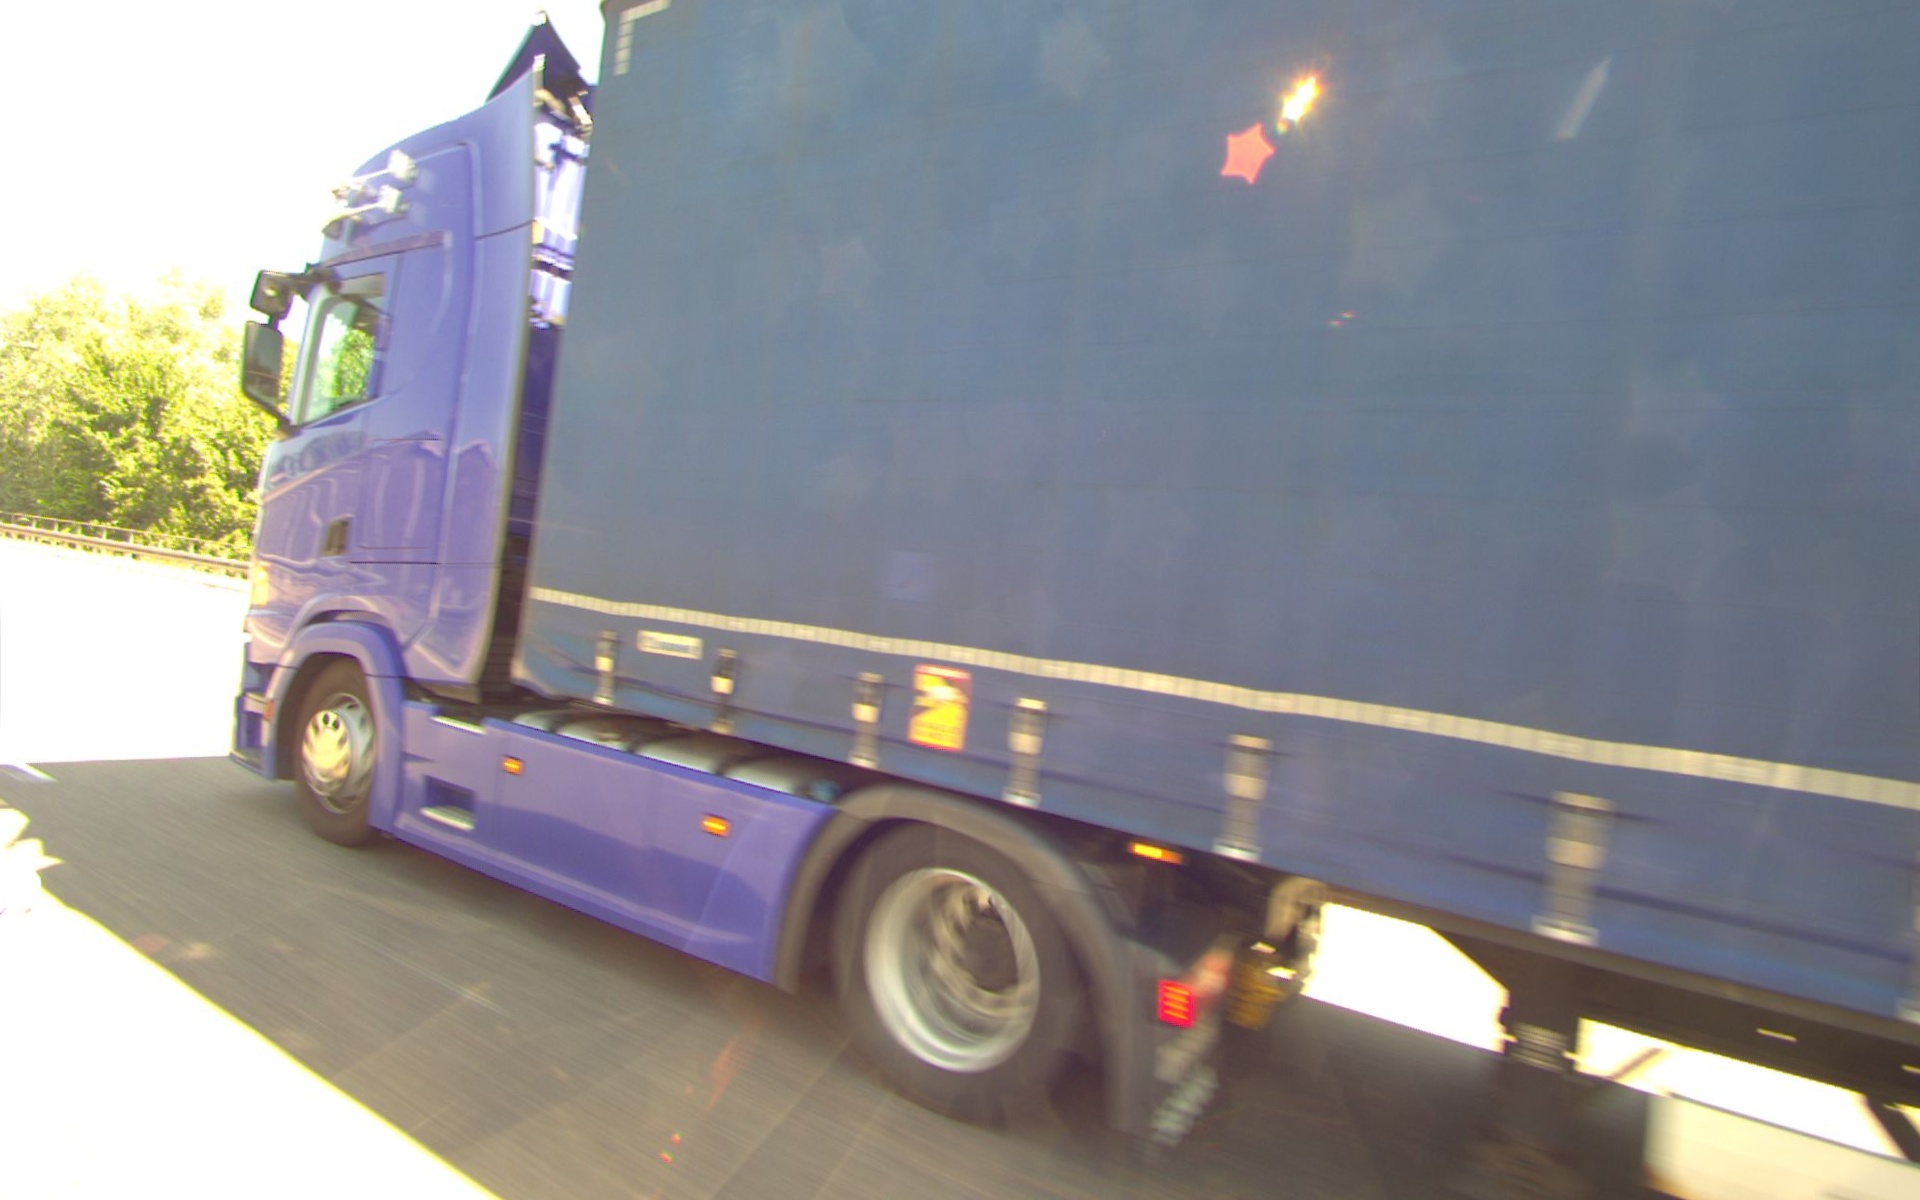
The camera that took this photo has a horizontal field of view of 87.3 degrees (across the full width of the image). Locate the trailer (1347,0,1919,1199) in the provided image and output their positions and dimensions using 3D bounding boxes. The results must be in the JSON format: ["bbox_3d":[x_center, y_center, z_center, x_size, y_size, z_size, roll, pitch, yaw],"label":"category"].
[{"bbox_3d":[6.842,0.163,0.338,11.930,4.166,2.705,6,-1,32],"label":"trailer"}]

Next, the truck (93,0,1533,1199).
[{"bbox_3d":[-1.191,-0.690,5.256,6.874,4.166,2.705,6,-1,31],"label":"truck"}]
